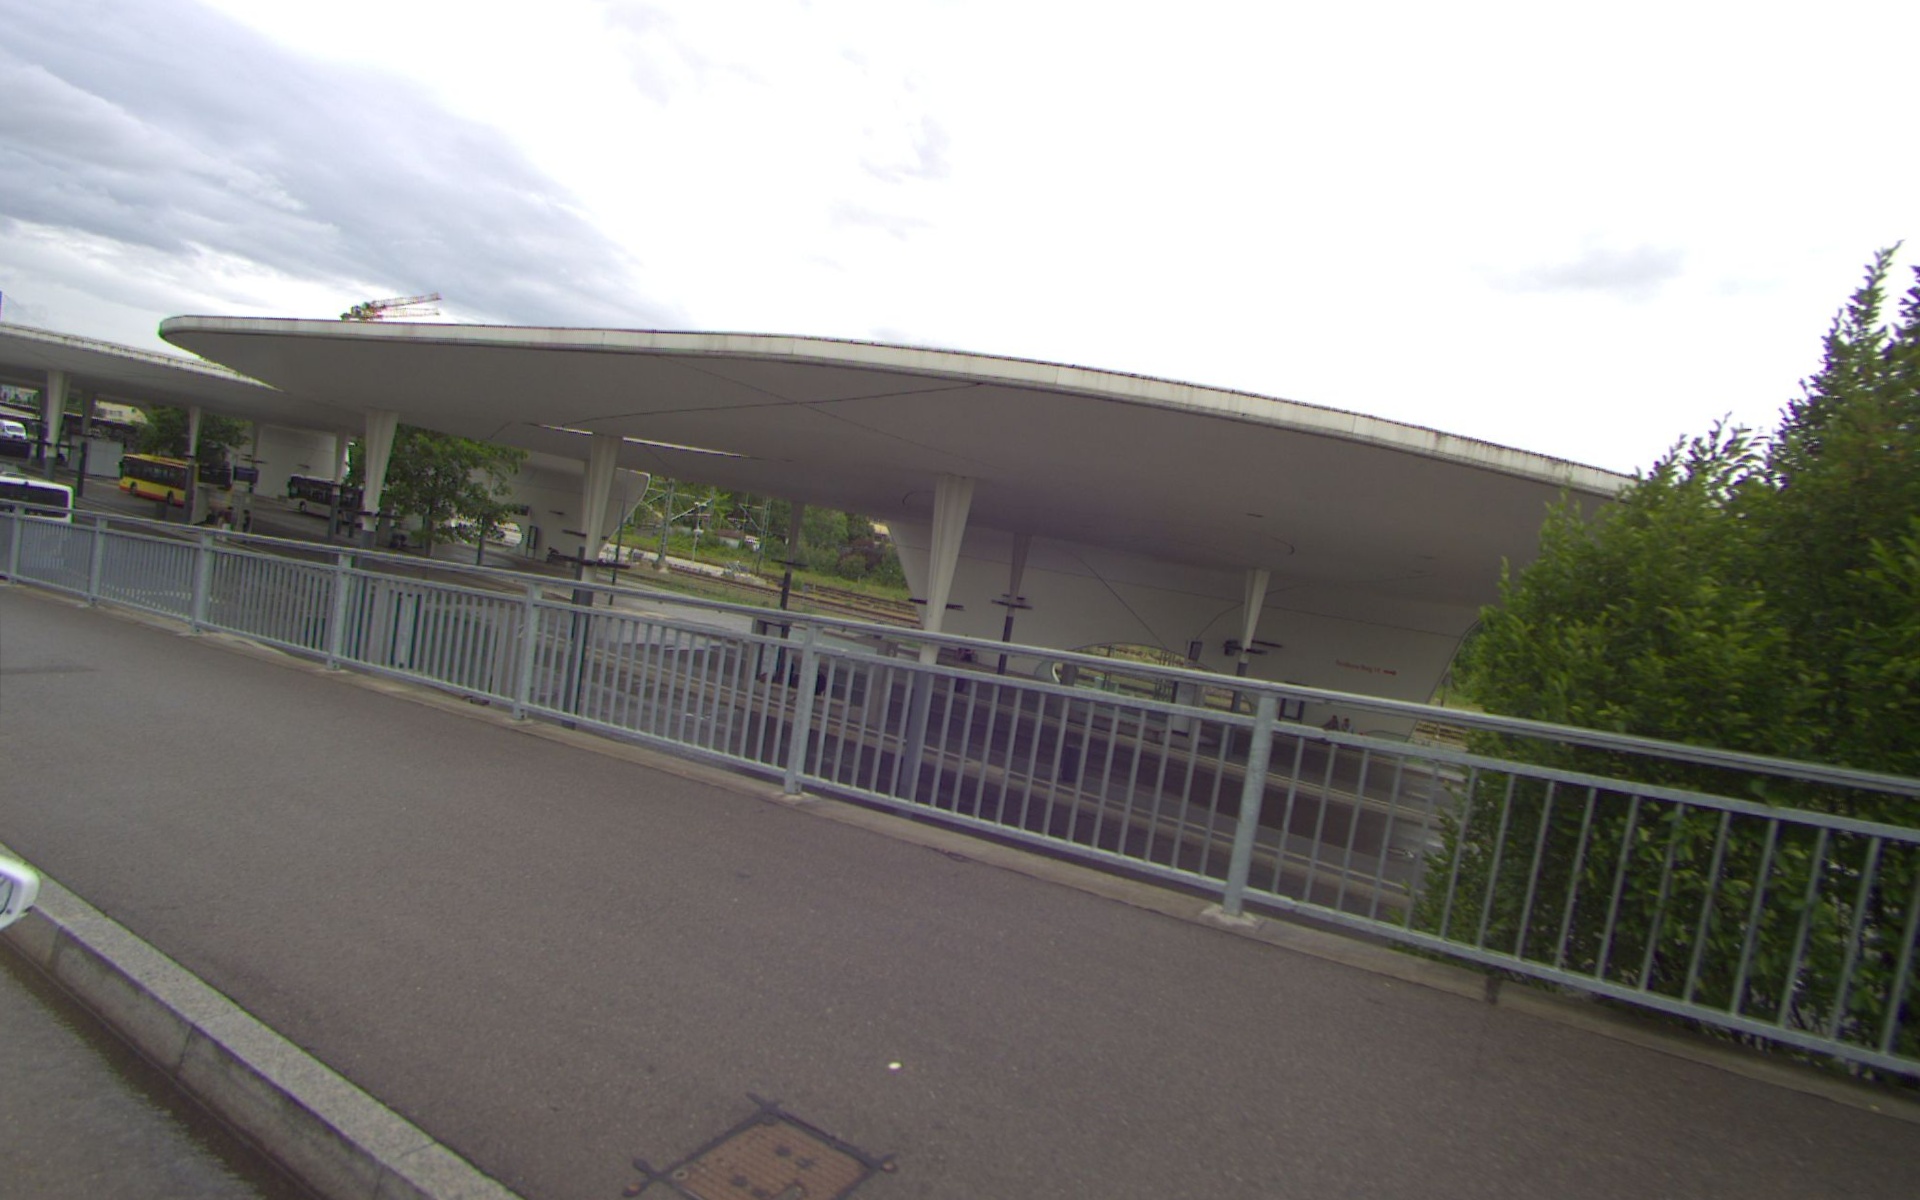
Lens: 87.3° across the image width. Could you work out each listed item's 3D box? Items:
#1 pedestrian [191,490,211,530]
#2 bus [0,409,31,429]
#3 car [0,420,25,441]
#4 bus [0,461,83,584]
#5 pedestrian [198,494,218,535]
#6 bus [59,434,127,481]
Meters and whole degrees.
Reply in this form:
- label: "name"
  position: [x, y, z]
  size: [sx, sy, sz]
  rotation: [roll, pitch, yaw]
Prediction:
- label: "pedestrian"
  position: [-40.923, -4.838, 54.236]
  size: [0.570, 2.040, 0.544]
  rotation: [8, 3, 32]
- label: "bus"
  position: [-124.304, -23.574, 126.909]
  size: [2.132, 2.039, 10.182]
  rotation: [8, 1, 29]
- label: "car"
  position: [-114.582, -20.433, 121.062]
  size: [3.933, 2.040, 1.995]
  rotation: [9, 3, 31]
- label: "bus"
  position: [-32.188, -2.857, 33.001]
  size: [6.948, 3.276, 2.652]
  rotation: [12, 2, 28]
- label: "pedestrian"
  position: [-39.941, -4.536, 53.418]
  size: [0.570, 2.040, 0.544]
  rotation: [8, 3, 32]
- label: "bus"
  position: [-74.785, -12.300, 86.751]
  size: [6.879, 3.252, 2.600]
  rotation: [9, 3, 34]
